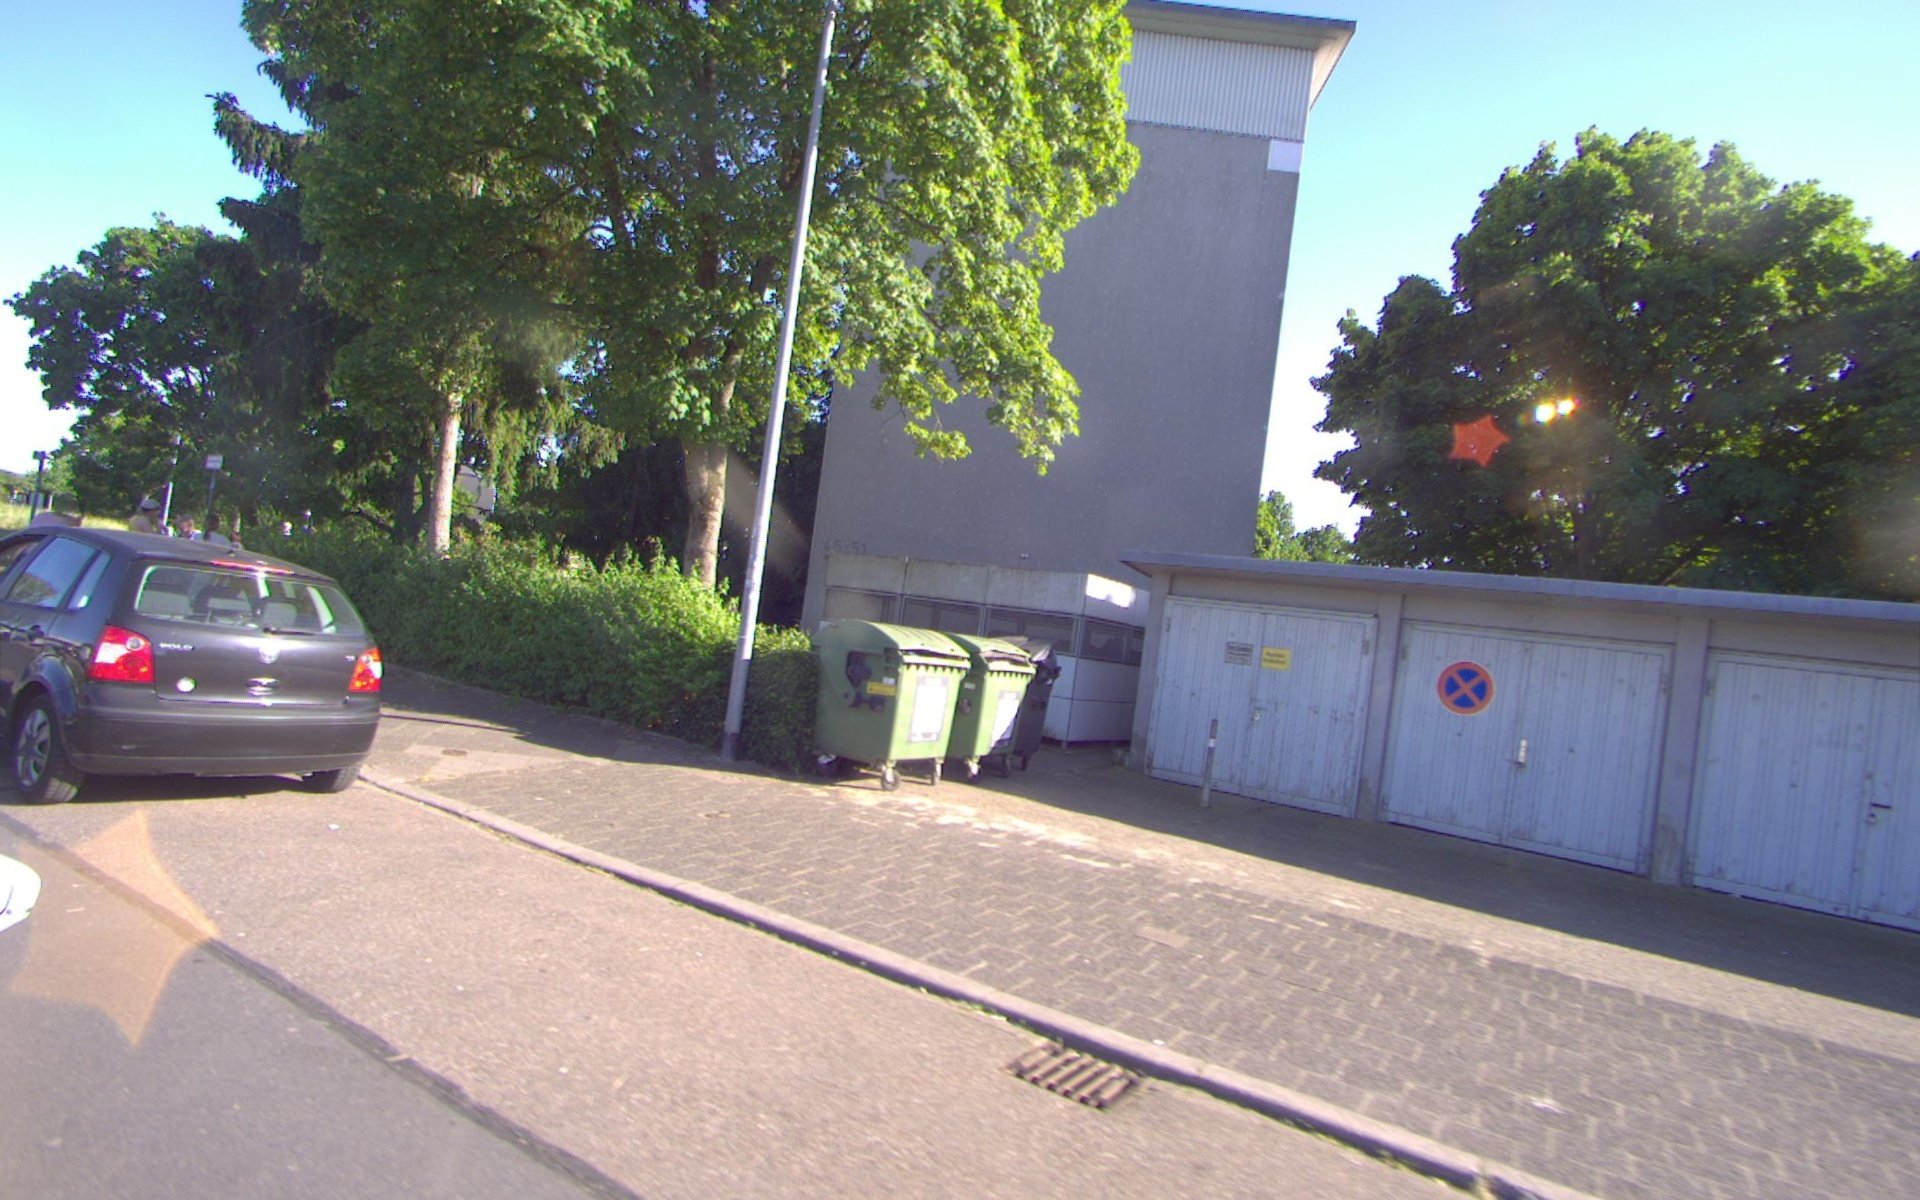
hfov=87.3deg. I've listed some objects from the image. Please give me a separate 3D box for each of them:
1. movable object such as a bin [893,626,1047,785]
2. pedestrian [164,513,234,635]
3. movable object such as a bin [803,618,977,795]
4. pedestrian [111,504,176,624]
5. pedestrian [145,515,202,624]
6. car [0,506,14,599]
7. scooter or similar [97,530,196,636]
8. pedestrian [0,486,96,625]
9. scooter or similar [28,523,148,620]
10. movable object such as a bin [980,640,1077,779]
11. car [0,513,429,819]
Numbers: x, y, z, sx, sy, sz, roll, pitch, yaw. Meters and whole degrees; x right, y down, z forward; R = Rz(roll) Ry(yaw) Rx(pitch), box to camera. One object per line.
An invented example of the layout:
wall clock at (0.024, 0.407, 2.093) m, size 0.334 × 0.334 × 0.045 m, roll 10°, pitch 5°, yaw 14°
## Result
movable object such as a bin at (0.128, 1.085, 10.438) m, size 0.935 × 1.432 × 1.277 m, roll 6°, pitch -2°, yaw 31°
pedestrian at (-10.289, -0.346, 13.606) m, size 0.461 × 1.583 × 0.486 m, roll 6°, pitch 0°, yaw 25°
movable object such as a bin at (-0.617, 0.967, 9.264) m, size 0.899 × 1.419 × 1.240 m, roll 6°, pitch -2°, yaw 31°
pedestrian at (-11.276, -0.502, 13.893) m, size 0.588 × 1.583 × 0.481 m, roll 6°, pitch 0°, yaw 40°
pedestrian at (-11.379, -0.438, 14.559) m, size 0.492 × 1.521 × 0.362 m, roll 6°, pitch 0°, yaw 27°
car at (-11.639, -0.471, 10.299) m, size 3.722 × 1.462 × 1.581 m, roll 6°, pitch -3°, yaw 27°
scooter or similar at (-10.572, -0.219, 13.076) m, size 0.890 × 1.242 × 0.624 m, roll 6°, pitch -1°, yaw 29°
pedestrian at (-11.479, -0.544, 12.501) m, size 0.560 × 1.581 × 0.790 m, roll 6°, pitch -4°, yaw 29°
scooter or similar at (-12.636, -0.406, 14.589) m, size 1.231 × 1.242 × 0.400 m, roll 7°, pitch 0°, yaw -2°
movable object such as a bin at (0.779, 1.225, 11.333) m, size 0.677 × 1.432 × 0.725 m, roll 6°, pitch -2°, yaw 31°
car at (-5.453, 0.291, 6.518) m, size 3.817 × 1.417 × 1.653 m, roll 6°, pitch -4°, yaw 30°
